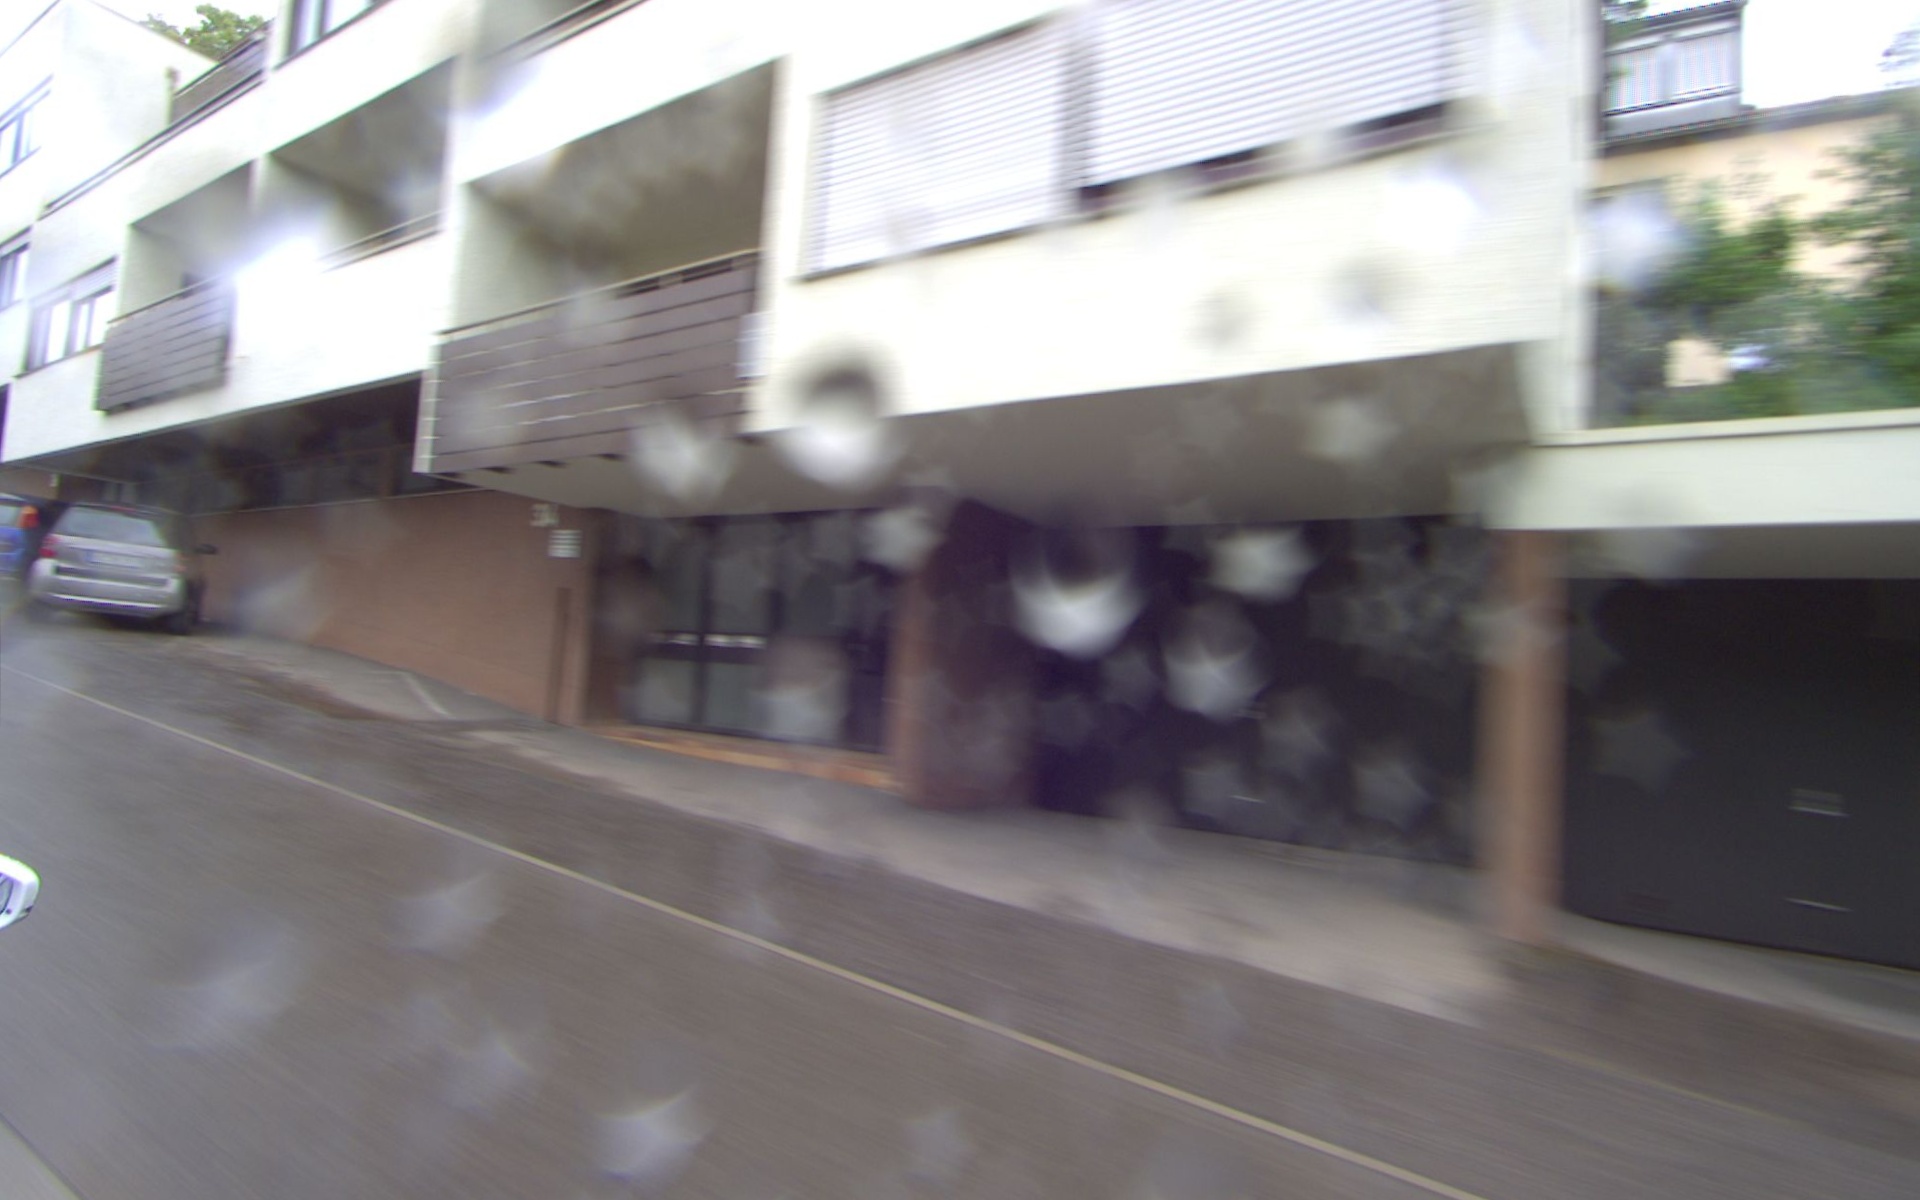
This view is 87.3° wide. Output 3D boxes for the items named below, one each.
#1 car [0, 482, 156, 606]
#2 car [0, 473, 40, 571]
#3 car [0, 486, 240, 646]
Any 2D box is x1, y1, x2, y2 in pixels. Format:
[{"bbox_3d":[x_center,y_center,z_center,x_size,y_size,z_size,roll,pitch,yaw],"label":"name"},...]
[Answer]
[{"bbox_3d":[-14.069,-0.866,15.117,1.765,1.595,4.049,10,-3,-21],"label":"car"},{"bbox_3d":[-20.349,-1.823,18.382,1.966,1.841,4.719,8,-1,30],"label":"car"},{"bbox_3d":[-11.242,-0.442,13.775,1.772,1.595,4.034,11,-4,-32],"label":"car"}]
